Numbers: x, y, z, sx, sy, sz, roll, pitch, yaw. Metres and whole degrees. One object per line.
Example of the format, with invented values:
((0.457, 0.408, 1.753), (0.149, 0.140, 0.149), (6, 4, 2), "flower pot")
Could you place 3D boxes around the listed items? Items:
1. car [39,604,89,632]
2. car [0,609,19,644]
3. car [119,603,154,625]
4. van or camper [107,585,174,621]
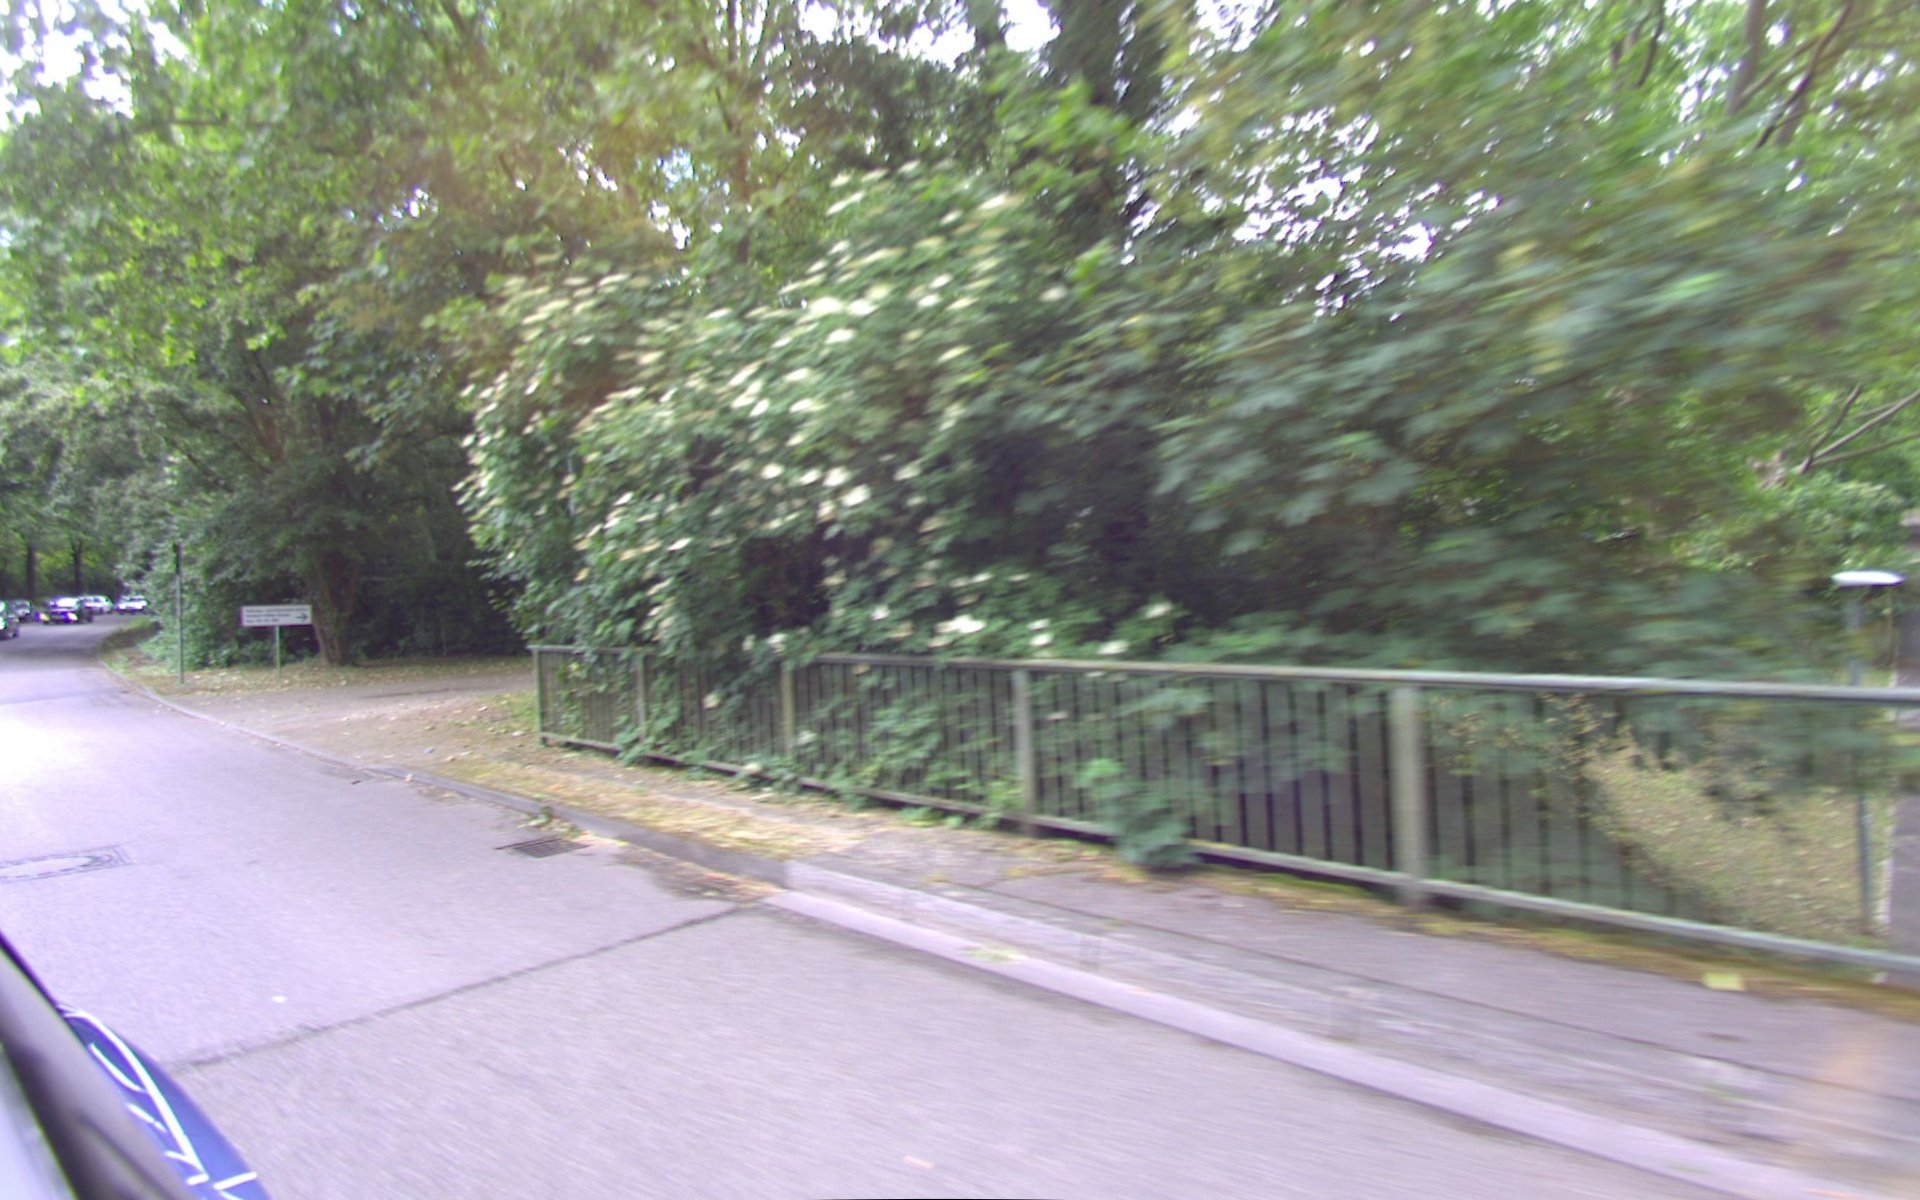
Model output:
((-55.300, 1.069, 62.548), (1.740, 1.580, 4.056), (-3, 1, -34), "car")
((-45.127, 1.237, 46.951), (1.629, 1.580, 4.055), (-3, 1, -36), "car")
((-64.160, 1.048, 78.890), (1.740, 1.580, 4.056), (-3, 1, -34), "car")
((-73.439, 0.213, 90.837), (2.390, 3.002, 7.417), (-2, 1, -21), "van or camper")
